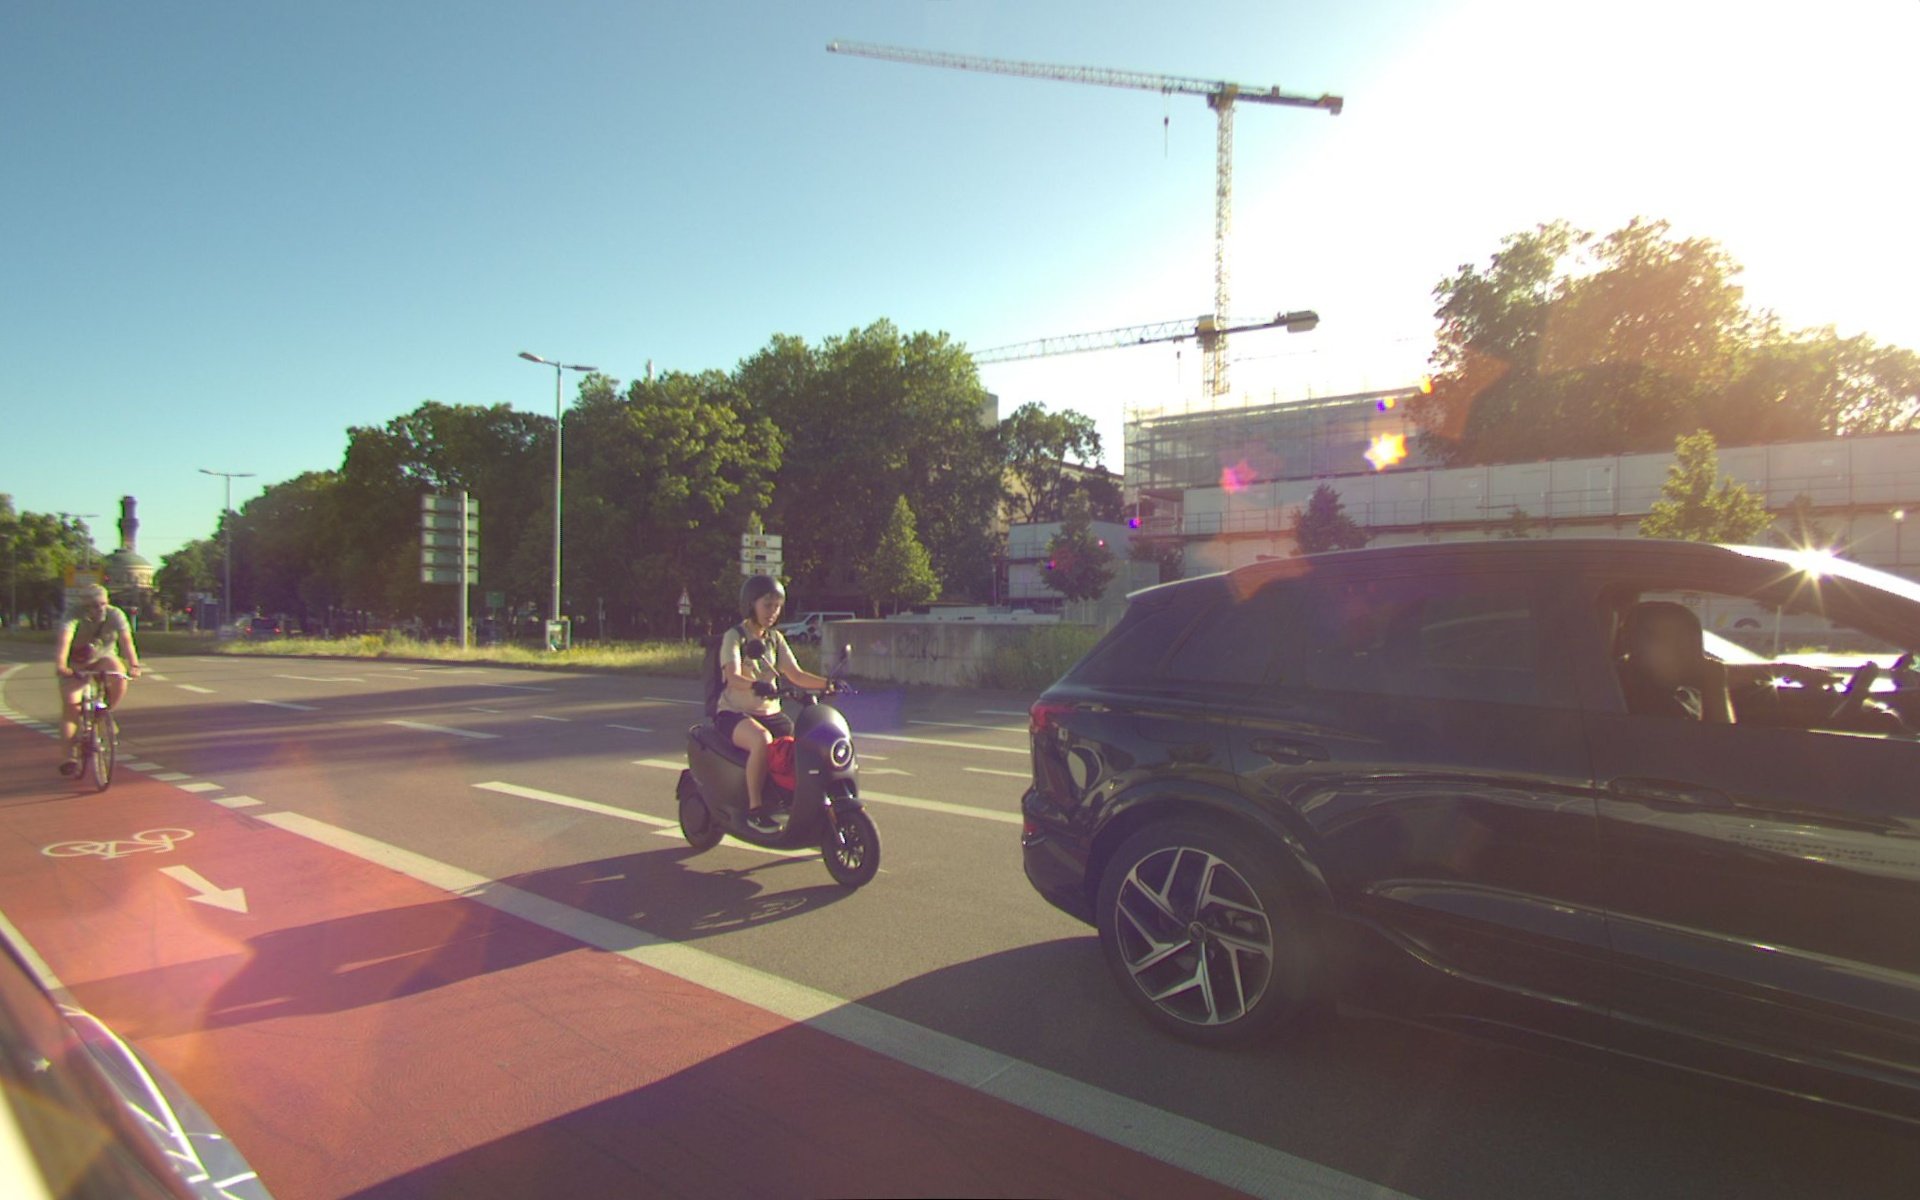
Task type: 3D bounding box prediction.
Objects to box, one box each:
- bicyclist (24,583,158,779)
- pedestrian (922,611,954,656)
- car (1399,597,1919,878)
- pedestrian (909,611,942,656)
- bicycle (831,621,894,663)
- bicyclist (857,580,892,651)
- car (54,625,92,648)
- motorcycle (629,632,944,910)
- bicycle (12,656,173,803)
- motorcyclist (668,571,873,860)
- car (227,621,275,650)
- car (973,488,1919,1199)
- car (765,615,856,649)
[{"bbox_3d":[-7.630,0.672,8.887,0.840,1.618,0.710,-1,-1,36],"label":"bicyclist"},{"bbox_3d":[-1.014,1.555,47.086,1.135,2.029,0.930,-1,0,35],"label":"pedestrian"},{"bbox_3d":[4.969,0.758,6.551,3.603,1.497,1.477,-2,-1,41],"label":"car"},{"bbox_3d":[-1.584,1.524,46.283,1.135,2.029,0.930,-1,0,35],"label":"pedestrian"},{"bbox_3d":[-4.359,1.887,45.164,3.079,1.824,0.831,-3,-1,40],"label":"bicycle"},{"bbox_3d":[-3.800,0.685,44.859,1.305,3.126,0.831,-1,0,39],"label":"bicyclist"},{"bbox_3d":[-73.066,2.983,83.369,3.998,1.699,1.826,-1,0,41],"label":"car"},{"bbox_3d":[-1.038,0.846,5.735,1.883,1.303,0.715,-2,-1,41],"label":"motorcycle"},{"bbox_3d":[-7.676,1.082,8.925,1.967,1.118,0.641,-1,-1,36],"label":"bicycle"},{"bbox_3d":[-1.085,0.600,5.775,0.917,1.485,0.717,-2,-1,41],"label":"motorcyclist"},{"bbox_3d":[-47.945,2.359,68.406,3.998,1.841,1.796,-1,0,41],"label":"car"},{"bbox_3d":[2.410,0.580,3.031,4.677,1.647,1.753,-1,0,40],"label":"car"},{"bbox_3d":[-9.063,1.931,61.851,2.065,1.950,5.443,-1,-2,42],"label":"car"}]
